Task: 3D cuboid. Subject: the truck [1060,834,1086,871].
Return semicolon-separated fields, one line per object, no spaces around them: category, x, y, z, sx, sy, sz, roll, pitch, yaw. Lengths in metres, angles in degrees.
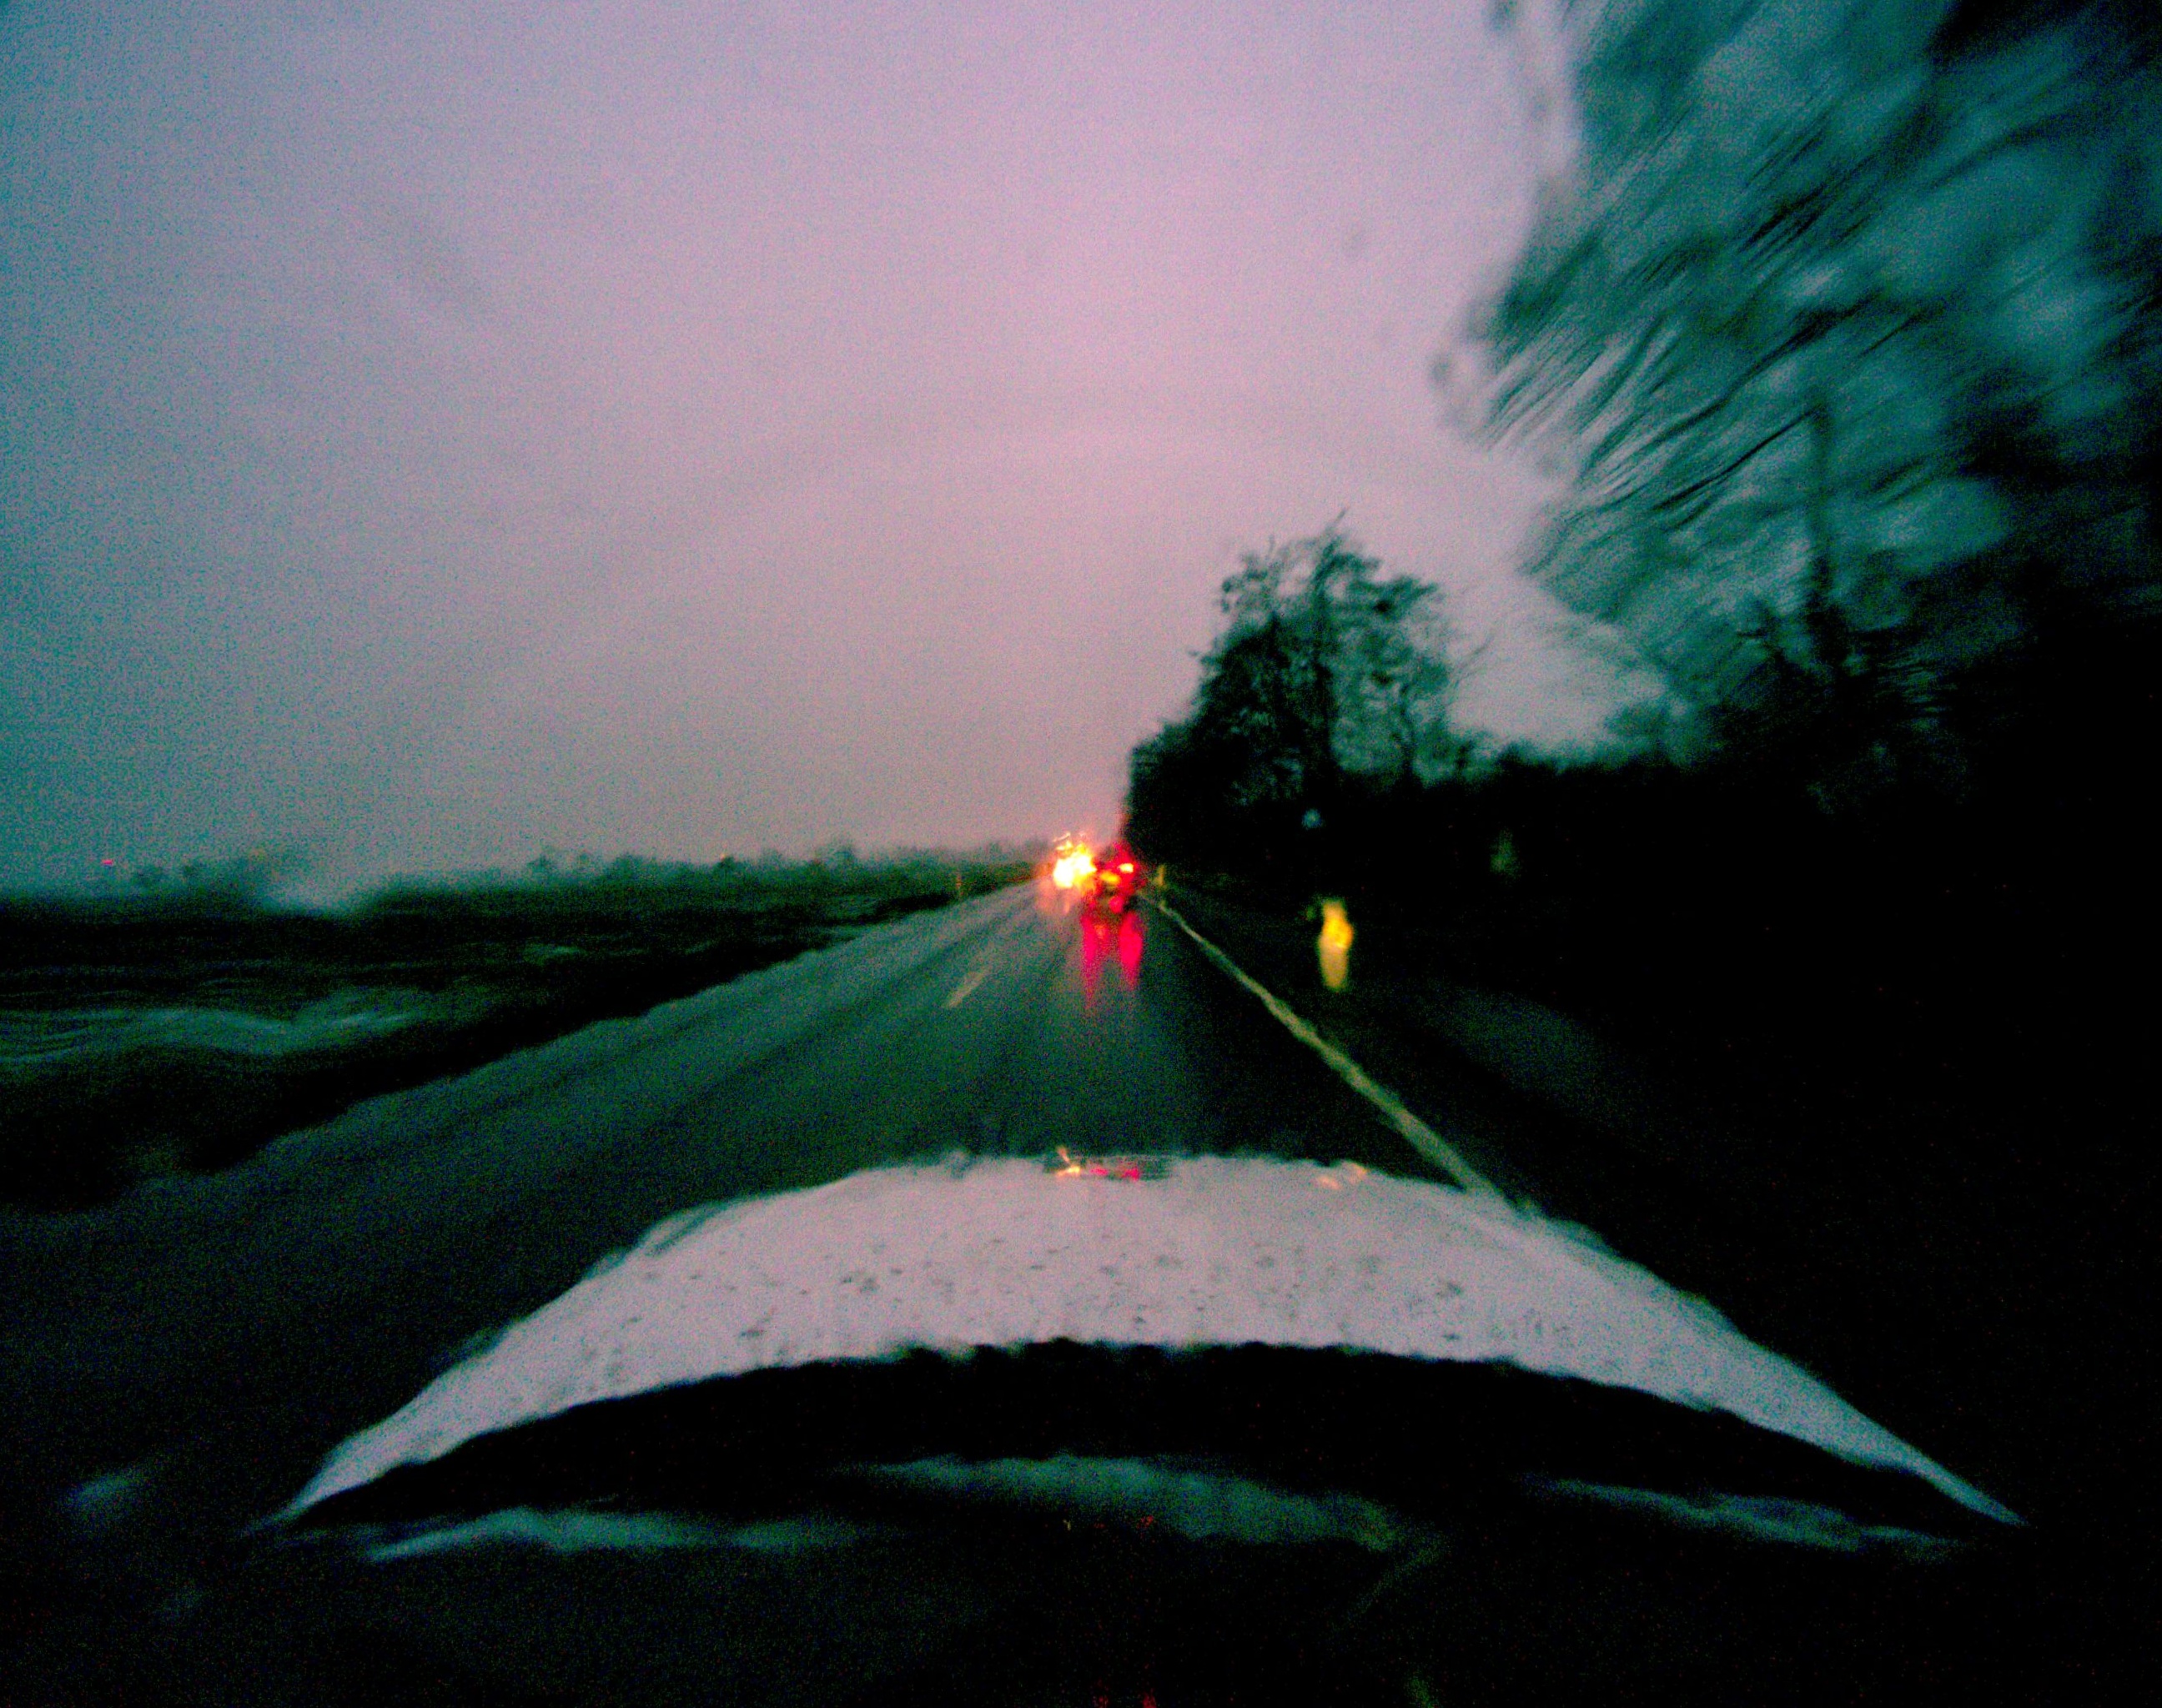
truck;-0.861;-0.214;96.635;2.715;4.105;6.589;-3;0;1

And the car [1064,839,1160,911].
car;1.029;0.638;26.866;2.809;2.077;5.807;-1;0;2
